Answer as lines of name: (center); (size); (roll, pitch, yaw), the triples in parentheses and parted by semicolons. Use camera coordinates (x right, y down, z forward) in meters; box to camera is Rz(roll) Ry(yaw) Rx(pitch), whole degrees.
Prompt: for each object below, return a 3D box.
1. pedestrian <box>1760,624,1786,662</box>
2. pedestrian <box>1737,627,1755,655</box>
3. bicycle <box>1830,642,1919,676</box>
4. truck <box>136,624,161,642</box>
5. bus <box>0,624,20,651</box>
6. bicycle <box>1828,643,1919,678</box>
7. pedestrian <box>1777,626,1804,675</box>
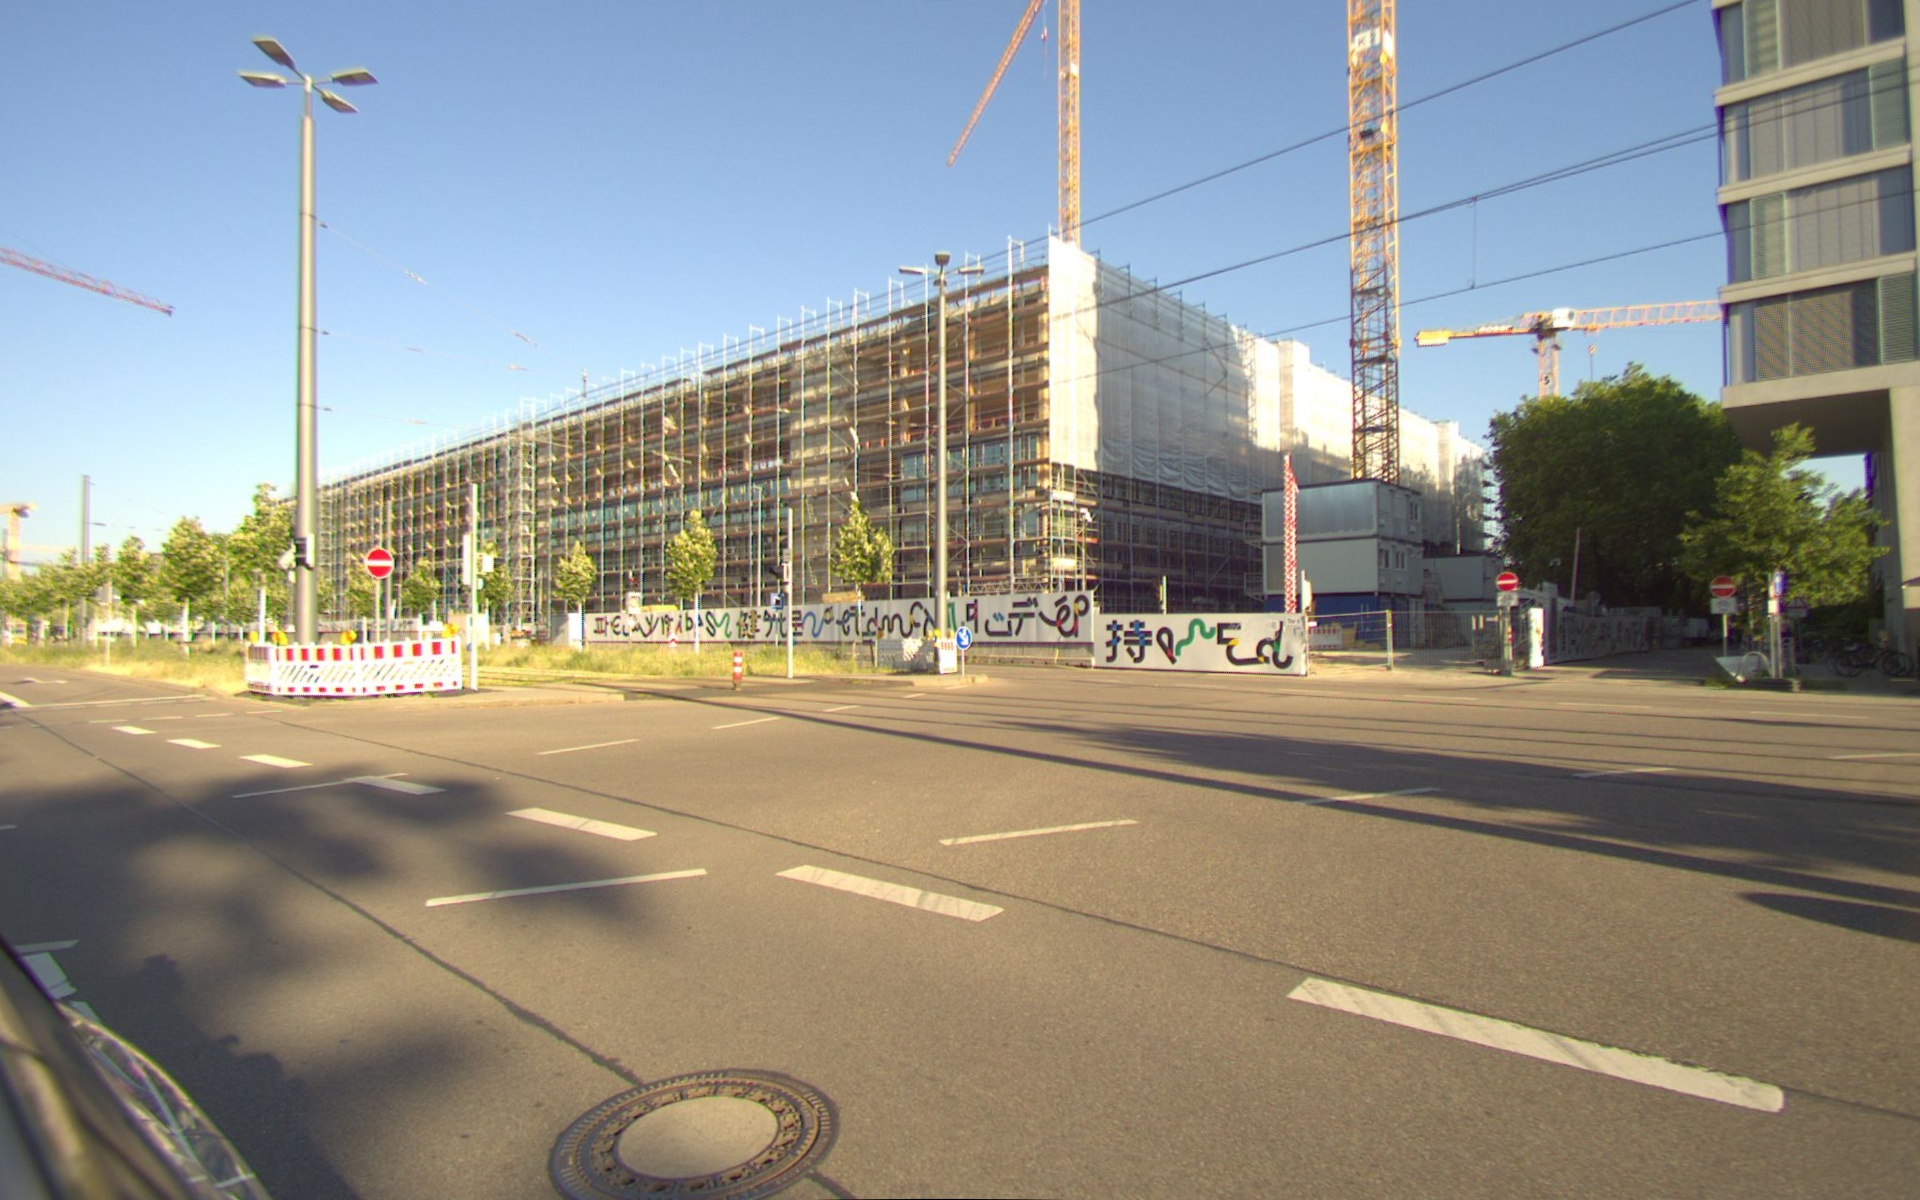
pedestrian: (33.571, 1.758, 41.781); (0.574, 1.547, 0.705); (1, -2, -42)
pedestrian: (45.084, 2.357, 58.032); (0.711, 1.559, 0.669); (-2, -3, 44)
bicycle: (26.251, 1.683, 29.045); (1.900, 0.943, 0.530); (-2, -2, 41)
truck: (-116.295, 4.737, 144.971); (4.740, 2.593, 2.114); (-2, -3, 43)
bus: (-117.860, 4.664, 124.832); (2.685, 3.247, 8.662); (1, -3, -44)
bicycle: (25.726, 1.685, 28.257); (2.215, 0.943, 0.612); (-2, -2, 41)
pedestrian: (25.708, 1.549, 31.324); (0.576, 1.510, 0.580); (-2, -2, 38)
